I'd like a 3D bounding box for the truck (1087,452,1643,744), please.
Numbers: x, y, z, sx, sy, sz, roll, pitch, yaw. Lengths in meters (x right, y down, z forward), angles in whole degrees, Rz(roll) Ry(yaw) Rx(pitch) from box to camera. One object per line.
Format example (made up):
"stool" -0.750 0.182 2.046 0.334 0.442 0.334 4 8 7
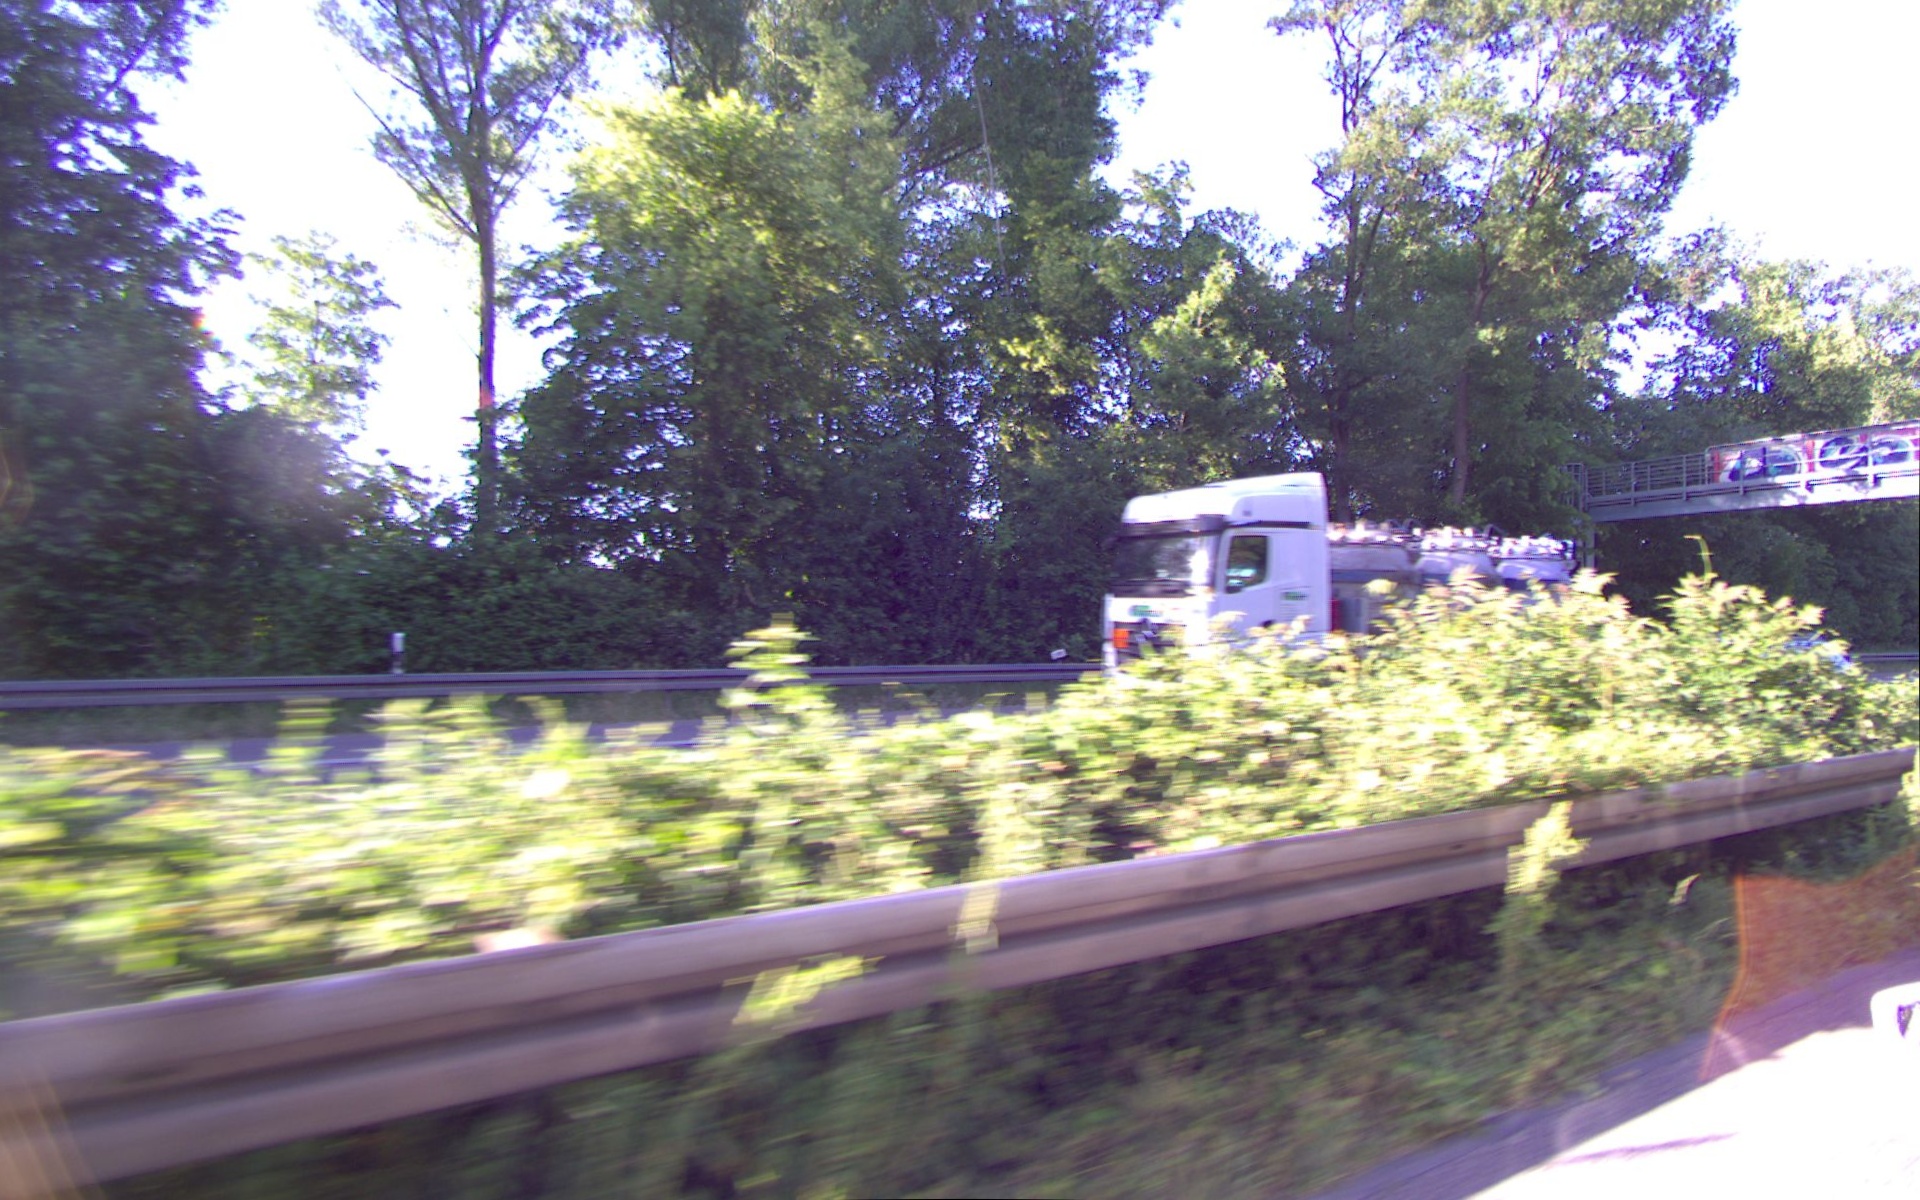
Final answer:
"truck" 7.657 0.125 17.844 11.333 4.008 2.756 2 0 -31

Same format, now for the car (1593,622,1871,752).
"car" 11.988 1.260 15.524 4.643 1.691 1.787 2 0 -30
